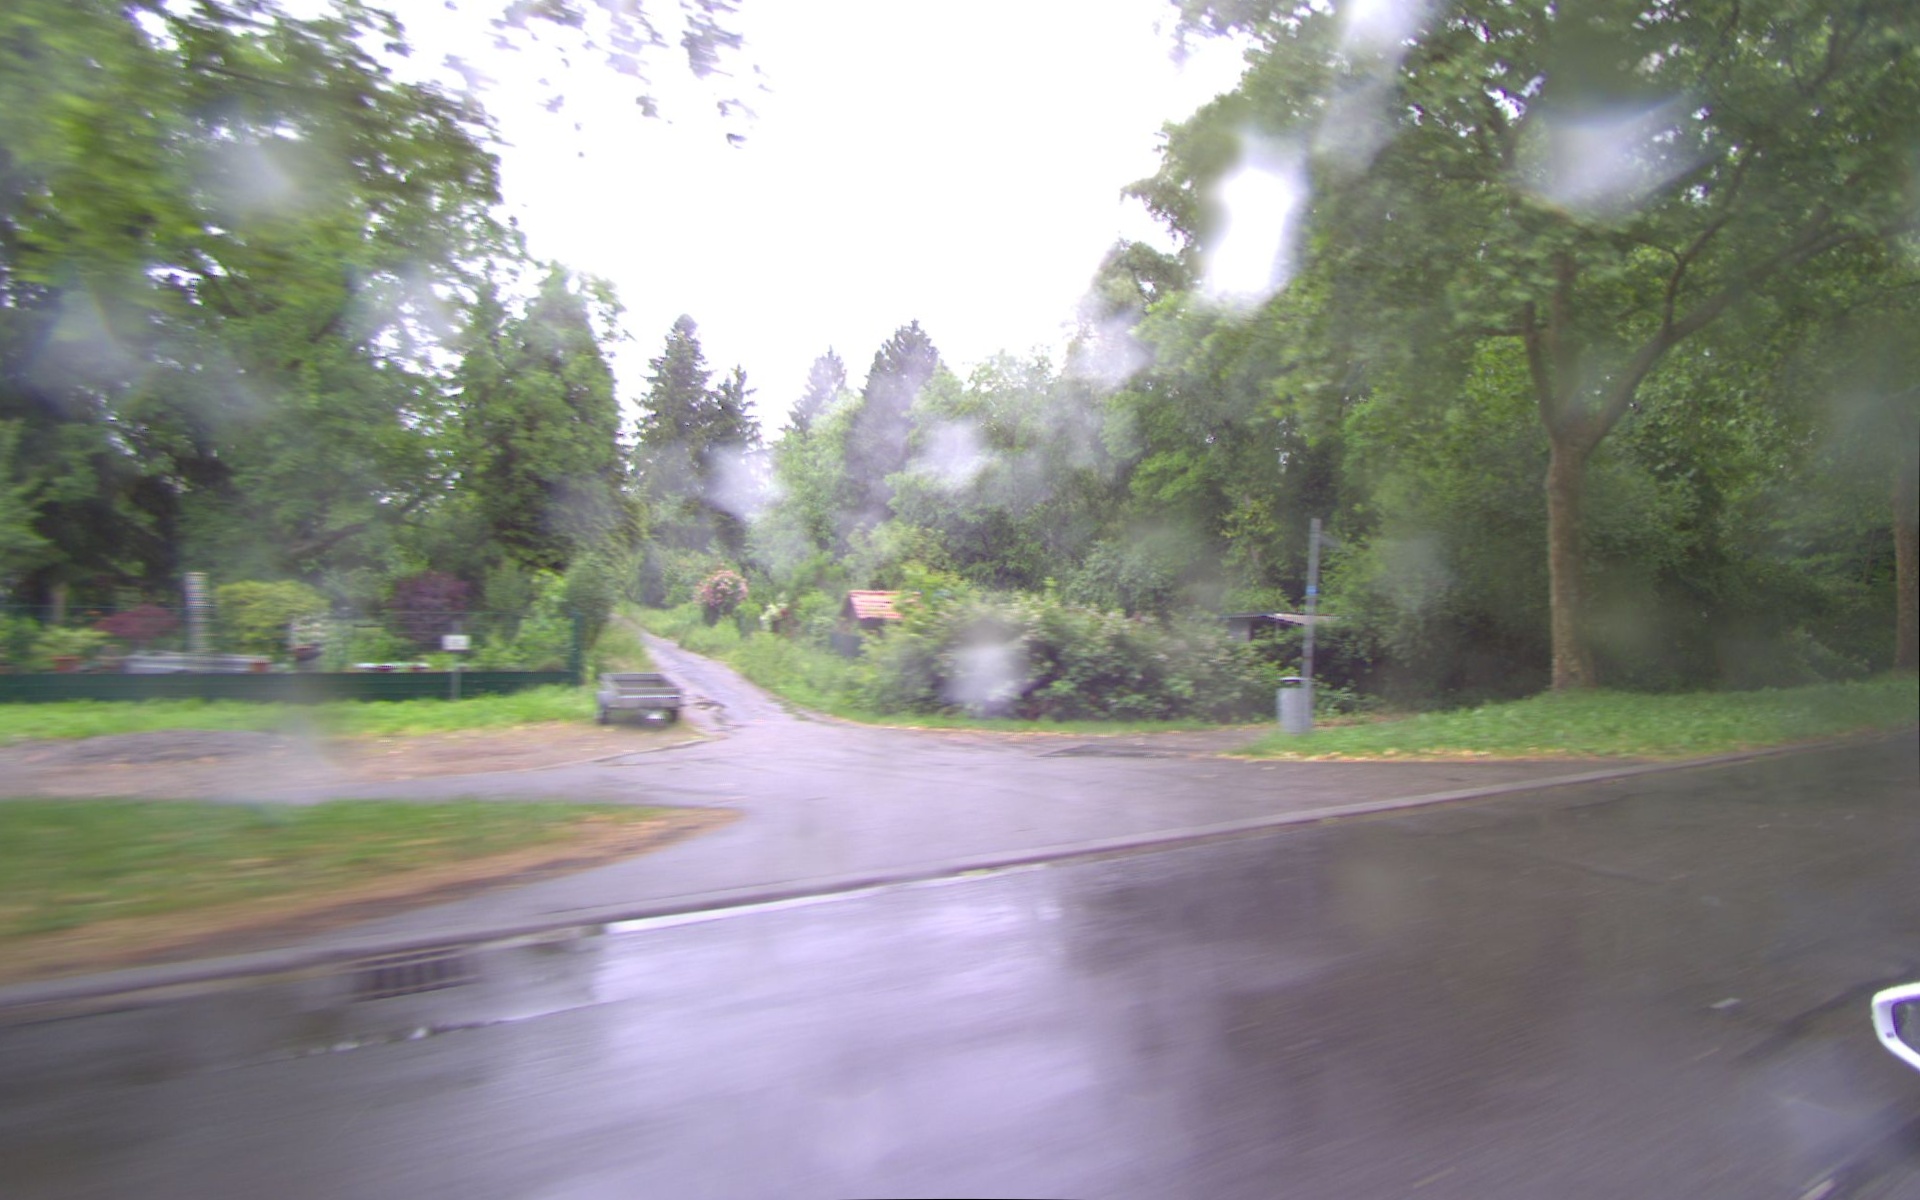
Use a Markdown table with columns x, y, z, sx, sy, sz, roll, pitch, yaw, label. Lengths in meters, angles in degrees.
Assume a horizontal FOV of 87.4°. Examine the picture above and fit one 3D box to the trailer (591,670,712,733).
| x | y | z | sx | sy | sz | roll | pitch | yaw | label |
| --- | --- | --- | --- | --- | --- | --- | --- | --- | --- |
| -5.696 | 1.807 | 18.373 | 1.656 | 0.848 | 3.018 | 2 | -1 | -26 | trailer |
